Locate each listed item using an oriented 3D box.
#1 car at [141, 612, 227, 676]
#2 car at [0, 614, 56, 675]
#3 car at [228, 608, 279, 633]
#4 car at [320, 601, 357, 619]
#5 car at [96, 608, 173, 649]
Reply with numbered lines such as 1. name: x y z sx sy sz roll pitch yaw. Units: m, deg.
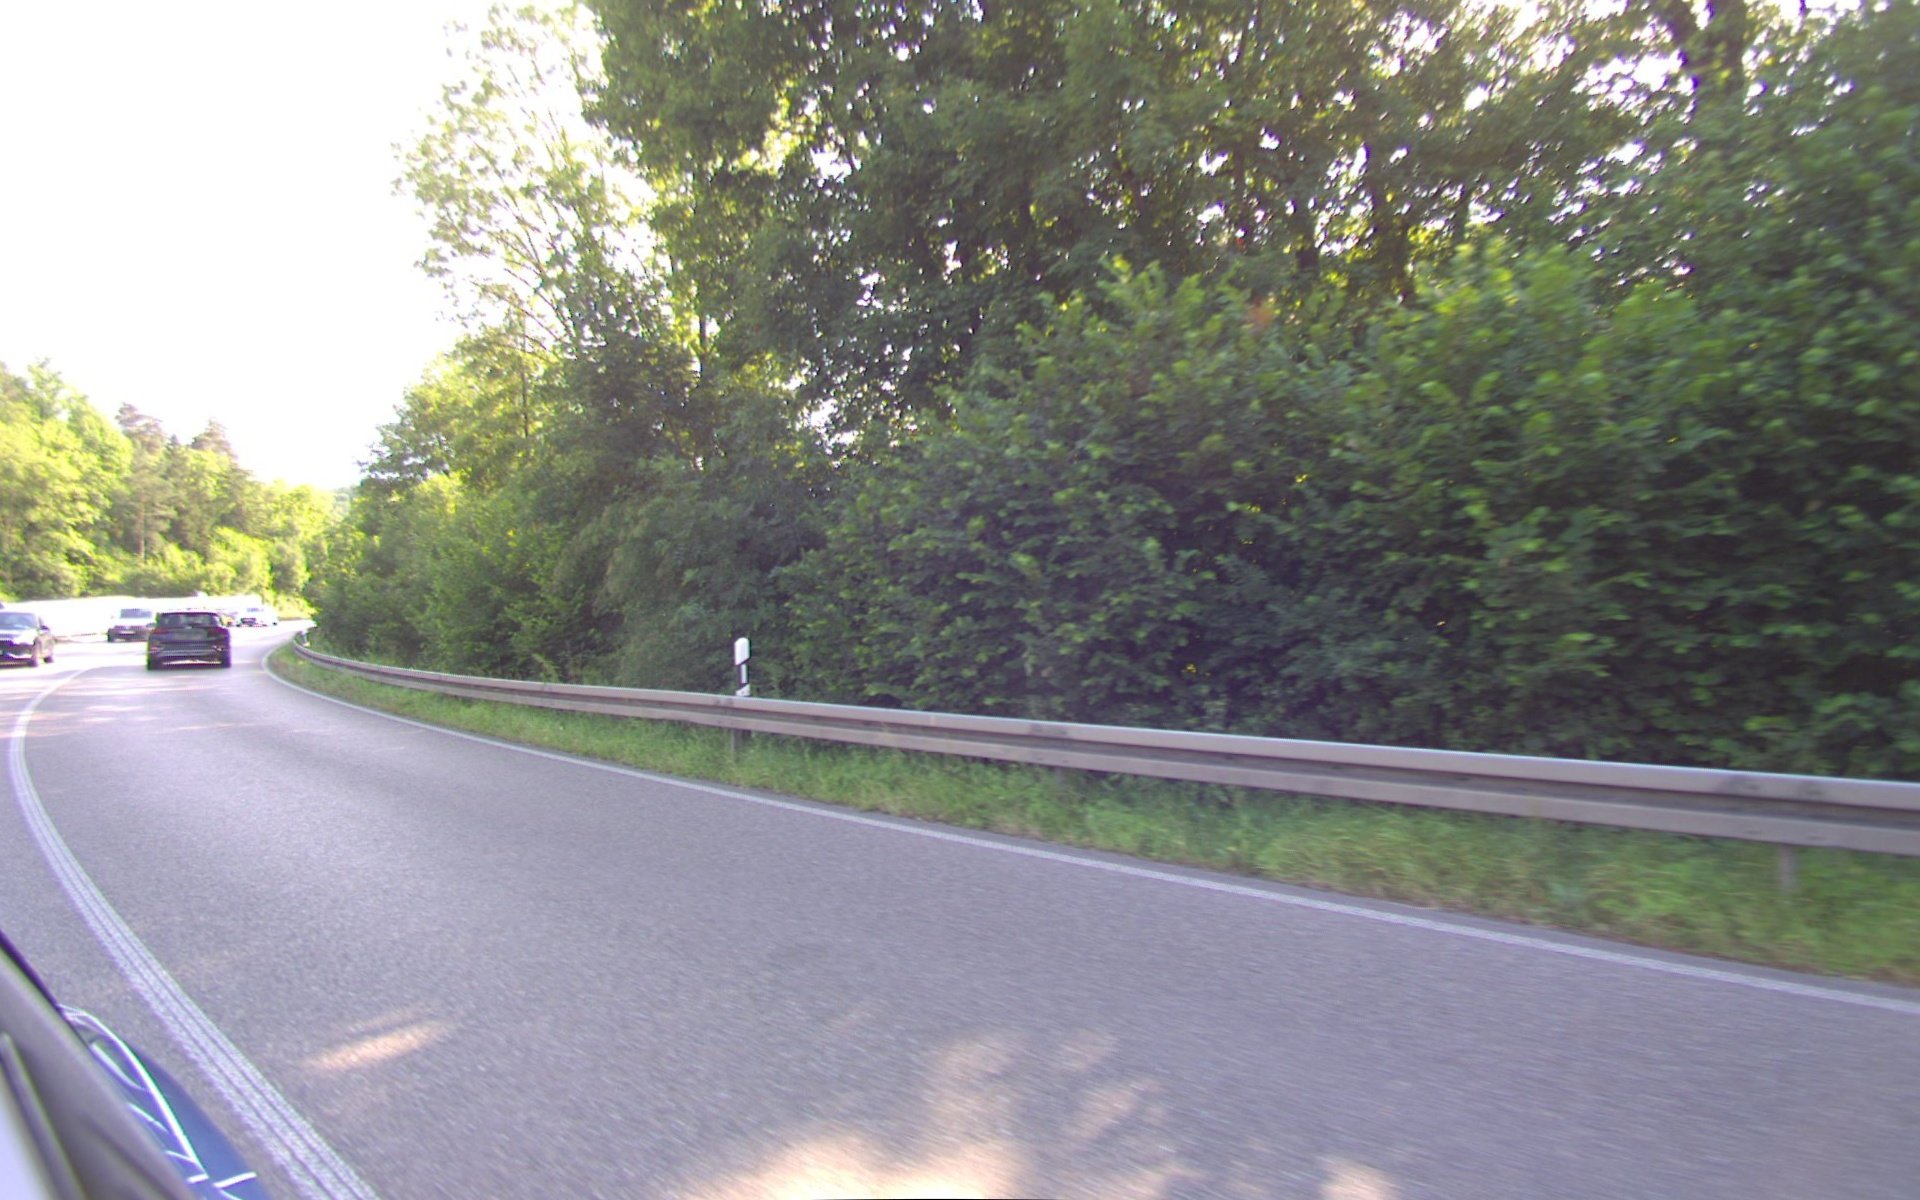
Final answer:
1. car: -22.214 1.213 28.996 1.843 1.665 4.558 0 -2 -38
2. car: -27.290 1.226 28.750 1.819 1.581 4.268 0 0 -34
3. car: -49.009 1.377 70.296 1.865 1.456 4.491 -4 2 -22
4. car: -56.489 0.922 92.043 1.829 1.431 4.433 -3 2 -18
5. car: -39.153 1.322 48.128 1.837 1.733 4.779 -2 1 -27
